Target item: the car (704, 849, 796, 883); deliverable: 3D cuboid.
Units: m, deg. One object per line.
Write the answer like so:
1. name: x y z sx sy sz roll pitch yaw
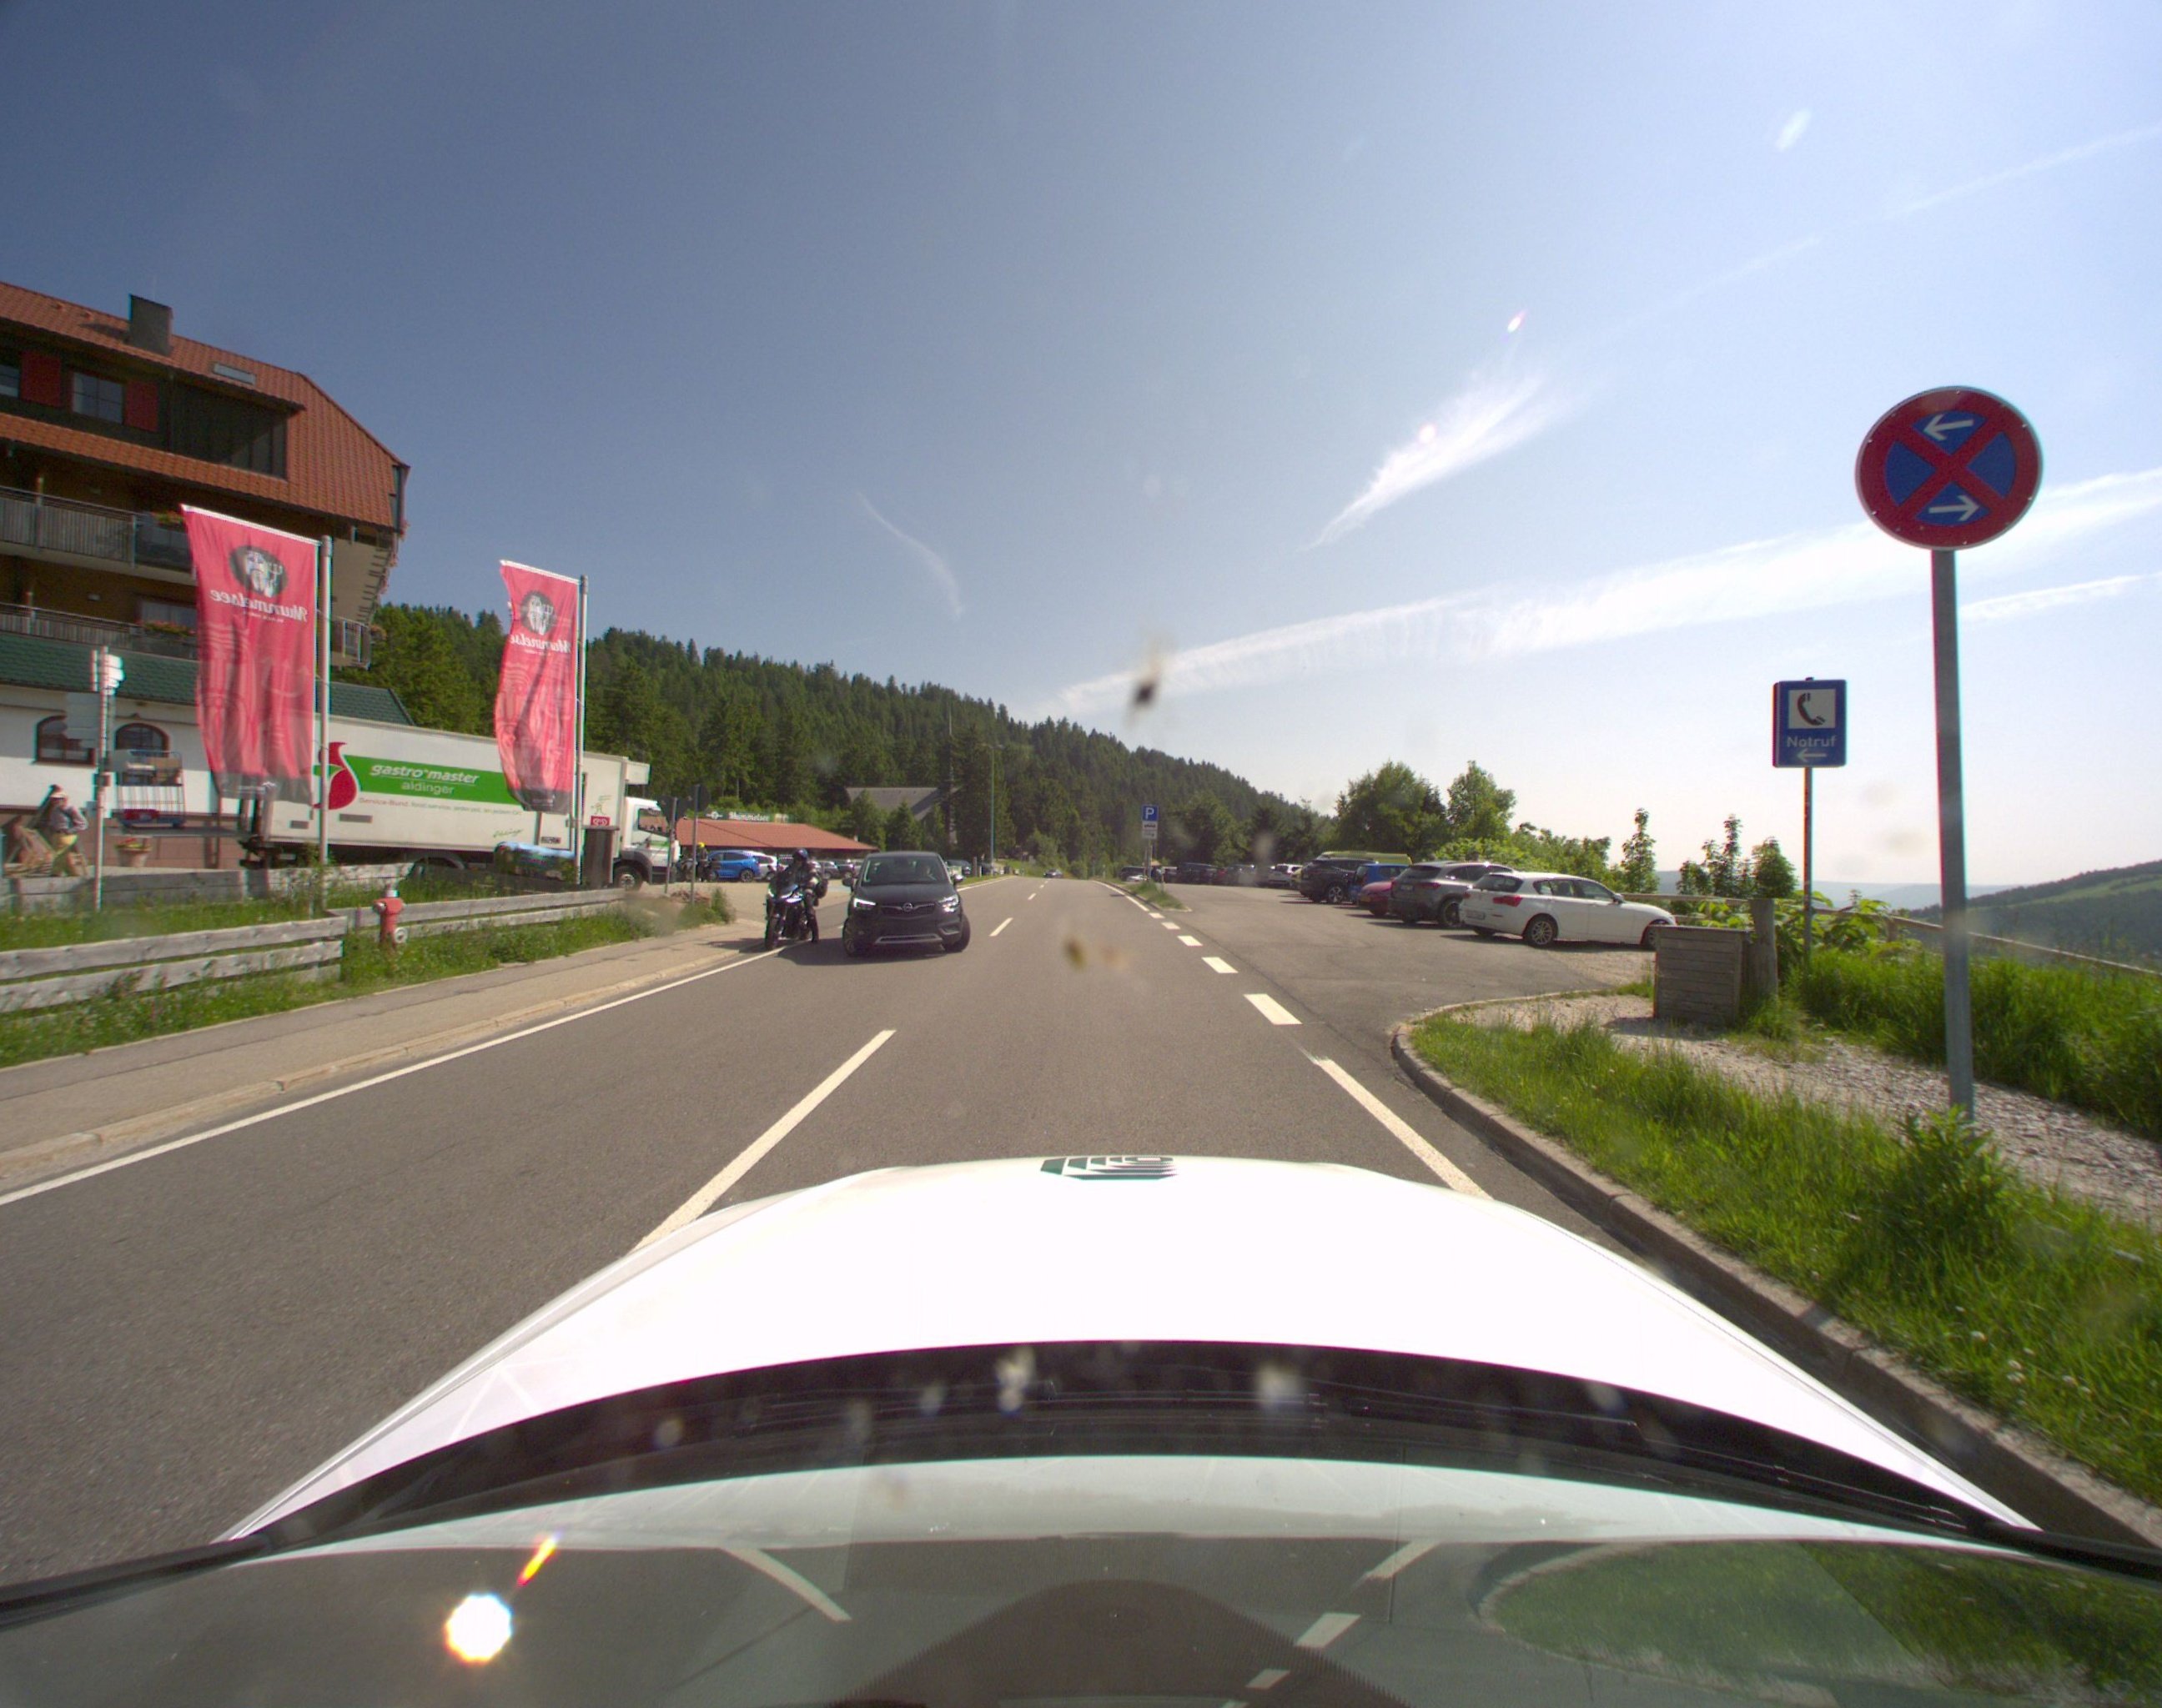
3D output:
1. car: -19.014 0.669 46.854 4.556 1.863 1.813 0 0 -44

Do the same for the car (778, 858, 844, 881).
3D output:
1. car: -18.850 1.063 56.992 1.695 1.486 4.103 0 0 44

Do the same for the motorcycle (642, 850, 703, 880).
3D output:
1. motorcycle: -19.017 0.537 37.959 2.290 1.256 0.868 4 -1 -45

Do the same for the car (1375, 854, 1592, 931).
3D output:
1. car: 9.604 0.910 19.550 4.399 1.568 1.900 3 0 -12

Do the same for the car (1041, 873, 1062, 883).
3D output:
1. car: -4.269 3.533 119.497 1.565 1.429 3.392 0 0 28

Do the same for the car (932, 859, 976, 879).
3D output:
1. car: -10.270 1.171 65.702 1.792 1.552 3.953 1 -1 -40

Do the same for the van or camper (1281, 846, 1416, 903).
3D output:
1. van or camper: 11.301 0.838 34.661 5.070 2.013 1.883 4 0 2

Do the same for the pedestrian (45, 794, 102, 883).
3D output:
1. pedestrian: -19.637 -0.289 15.874 0.568 1.689 0.657 0 0 35

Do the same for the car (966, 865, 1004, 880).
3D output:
1. car: -10.855 2.050 91.895 4.156 1.634 1.800 -1 -3 39

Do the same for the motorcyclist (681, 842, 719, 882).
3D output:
1. motorcyclist: -16.977 0.374 36.248 1.253 1.720 1.053 5 -4 -36

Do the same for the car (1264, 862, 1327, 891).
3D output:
1. car: 14.330 1.532 54.326 4.246 1.695 1.842 4 -2 -38

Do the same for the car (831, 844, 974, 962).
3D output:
1. car: -2.864 0.707 13.746 1.979 1.616 4.136 -1 0 -9

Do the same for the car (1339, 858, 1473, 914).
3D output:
1. car: 10.319 1.000 26.010 3.569 1.495 1.648 3 0 0

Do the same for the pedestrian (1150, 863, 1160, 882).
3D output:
1. pedestrian: 7.190 1.779 78.883 0.573 1.761 0.637 2 -3 42

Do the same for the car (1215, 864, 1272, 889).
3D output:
1. car: 12.674 1.752 63.462 4.293 1.695 1.968 5 -2 -39

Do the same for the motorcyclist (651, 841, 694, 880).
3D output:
1. motorcyclist: -19.015 0.327 37.924 1.460 1.717 0.915 4 -1 -45

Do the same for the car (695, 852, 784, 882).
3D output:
1. car: -18.630 0.664 44.482 4.023 1.546 1.975 0 0 -45

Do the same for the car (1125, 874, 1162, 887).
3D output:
1. car: 8.243 3.508 107.351 4.463 1.299 1.573 6 -2 -17

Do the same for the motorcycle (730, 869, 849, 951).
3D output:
1. motorcycle: -5.000 0.919 14.181 0.805 1.265 2.336 -1 0 13

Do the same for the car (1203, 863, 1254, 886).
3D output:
1. car: 12.140 1.703 66.782 4.018 1.590 1.842 5 -2 -38

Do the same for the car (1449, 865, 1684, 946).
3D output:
1. car: 9.795 1.016 16.532 3.988 1.385 1.651 3 -1 -11

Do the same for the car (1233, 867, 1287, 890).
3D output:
1. car: 13.438 1.825 60.959 4.018 1.476 1.748 5 -2 -38

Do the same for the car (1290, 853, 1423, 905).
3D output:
1. car: 9.631 0.867 28.607 3.982 1.613 1.912 2 -1 -6

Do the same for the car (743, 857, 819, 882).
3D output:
1. car: -18.571 0.937 50.547 1.890 1.430 4.024 0 0 43

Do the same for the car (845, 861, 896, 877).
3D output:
1. car: -18.776 1.333 72.771 1.884 1.420 4.023 -1 -1 44

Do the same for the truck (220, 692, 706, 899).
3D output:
1. truck: -14.429 -1.001 20.056 3.031 3.972 8.825 3 -1 37

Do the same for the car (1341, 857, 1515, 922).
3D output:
1. car: 9.394 0.952 22.191 3.987 1.509 1.836 3 0 -11

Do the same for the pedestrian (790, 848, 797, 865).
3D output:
1. pedestrian: -31.670 0.255 89.744 0.540 1.874 0.531 -1 -3 42

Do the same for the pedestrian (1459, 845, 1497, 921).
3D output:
1. pedestrian: 10.279 0.738 21.095 0.605 1.900 0.680 3 -1 5

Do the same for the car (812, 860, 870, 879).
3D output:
1. car: -18.691 1.173 63.545 4.020 1.371 1.791 0 0 -39

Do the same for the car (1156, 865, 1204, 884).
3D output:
1. car: 9.196 1.910 75.469 4.002 1.443 1.826 4 -2 -22

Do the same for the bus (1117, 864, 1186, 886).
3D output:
1. bus: 13.418 3.976 155.814 12.764 3.578 2.994 2 0 15

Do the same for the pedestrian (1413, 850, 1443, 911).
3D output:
1. pedestrian: 10.023 0.758 23.549 0.504 1.725 0.564 3 -1 -13

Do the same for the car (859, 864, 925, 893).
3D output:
1. car: -10.726 1.340 46.090 1.818 1.540 4.142 0 0 -43

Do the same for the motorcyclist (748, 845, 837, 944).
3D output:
1. motorcyclist: -5.004 0.675 14.197 0.872 1.641 1.304 -1 0 13

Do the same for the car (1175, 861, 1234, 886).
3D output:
1. car: 10.970 1.698 72.303 4.773 1.880 1.953 4 -2 -20

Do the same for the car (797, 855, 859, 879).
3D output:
1. car: -18.623 0.956 60.050 4.021 1.704 1.804 0 0 -41

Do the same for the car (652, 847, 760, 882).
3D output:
1. car: -18.876 0.558 41.164 1.915 1.664 4.572 0 -1 44

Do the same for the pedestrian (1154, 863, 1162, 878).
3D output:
1. pedestrian: 7.251 1.512 76.836 0.770 1.403 0.670 0 0 5

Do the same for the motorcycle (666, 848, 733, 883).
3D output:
1. motorcycle: -16.969 0.538 36.237 2.455 1.407 0.995 5 -4 -36

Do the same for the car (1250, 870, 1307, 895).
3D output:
1. car: 14.053 2.023 57.981 4.018 1.549 1.800 5 -2 -38

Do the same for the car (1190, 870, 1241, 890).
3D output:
1. car: 11.443 2.193 69.270 4.009 1.415 1.729 4 -2 -28

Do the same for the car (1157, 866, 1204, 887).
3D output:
1. car: 9.598 2.152 78.515 4.008 1.662 1.982 7 -4 -28
